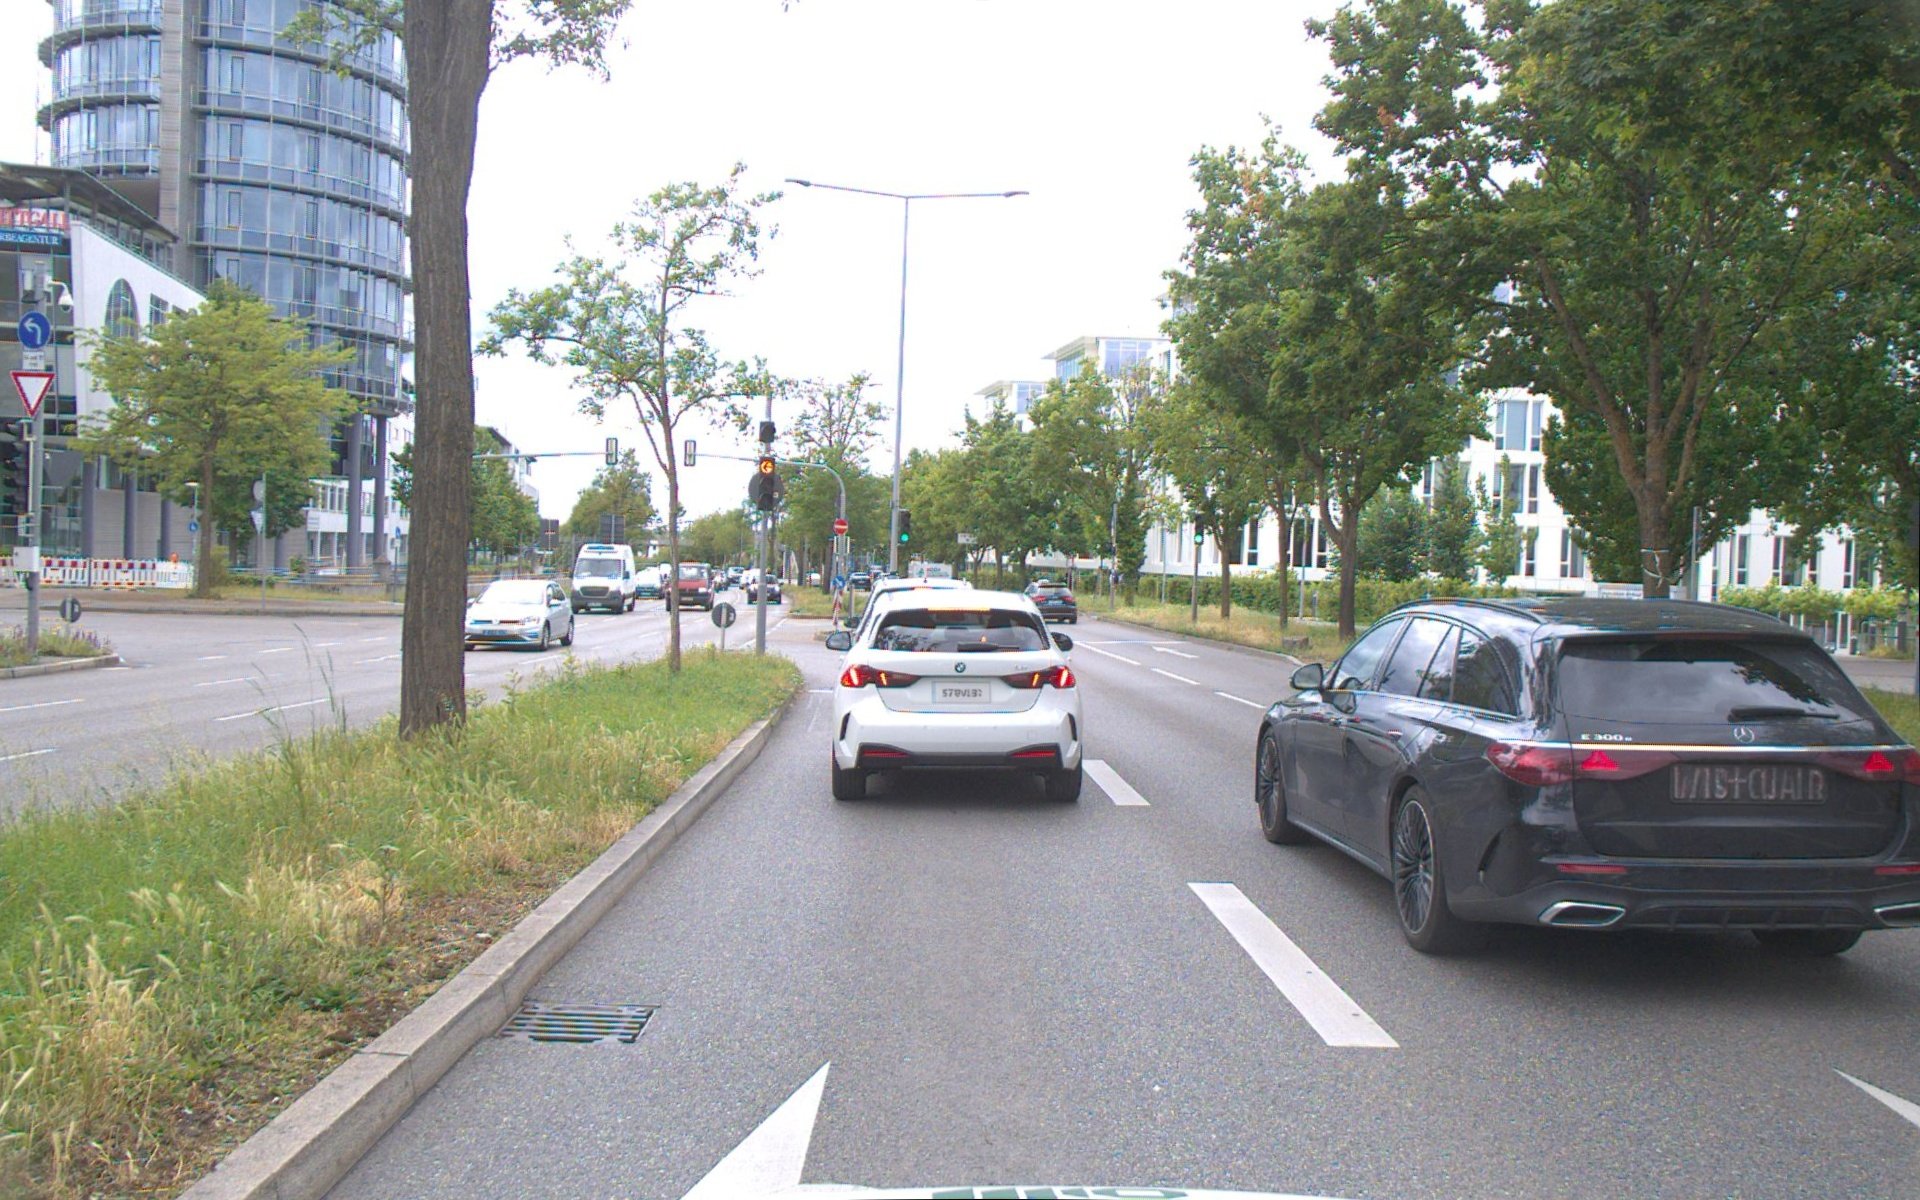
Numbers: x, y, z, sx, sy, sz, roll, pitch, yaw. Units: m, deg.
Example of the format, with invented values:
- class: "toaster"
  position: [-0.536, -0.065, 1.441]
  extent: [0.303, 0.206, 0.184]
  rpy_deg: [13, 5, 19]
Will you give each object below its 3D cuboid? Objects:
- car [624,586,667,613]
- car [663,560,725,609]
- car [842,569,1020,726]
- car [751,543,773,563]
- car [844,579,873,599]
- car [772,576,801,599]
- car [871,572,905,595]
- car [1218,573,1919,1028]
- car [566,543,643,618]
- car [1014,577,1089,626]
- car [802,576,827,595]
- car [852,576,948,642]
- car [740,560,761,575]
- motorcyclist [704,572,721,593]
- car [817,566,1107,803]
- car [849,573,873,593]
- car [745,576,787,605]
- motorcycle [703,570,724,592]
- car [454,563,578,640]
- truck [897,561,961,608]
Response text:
- class: "car"
  position: [-16.998, -0.033, 89.497]
  extent: [1.673, 1.443, 3.802]
  rpy_deg: [0, 1, -1]
- class: "car"
  position: [-11.145, -0.643, 69.556]
  extent: [1.896, 1.951, 4.972]
  rpy_deg: [1, 0, -1]
- class: "car"
  position: [-0.330, 0.532, 20.432]
  extent: [1.953, 1.701, 4.000]
  rpy_deg: [1, 0, 0]
- class: "car"
  position: [-21.358, -5.045, 178.369]
  extent: [1.954, 2.045, 4.321]
  rpy_deg: [3, 1, -4]
- class: "car"
  position: [-8.189, -0.911, 133.276]
  extent: [1.957, 1.534, 3.991]
  rpy_deg: [1, 0, -10]
- class: "car"
  position: [-11.861, -0.834, 113.313]
  extent: [1.673, 1.523, 3.802]
  rpy_deg: [0, 1, -1]
- class: "car"
  position: [-4.966, -1.166, 113.749]
  extent: [1.956, 1.534, 3.993]
  rpy_deg: [1, 1, -8]
- class: "car"
  position: [2.773, 0.667, 8.087]
  extent: [2.012, 1.512, 4.971]
  rpy_deg: [1, 0, -3]
- class: "car"
  position: [-13.780, -0.774, 64.497]
  extent: [1.954, 2.679, 5.871]
  rpy_deg: [3, 1, -4]
- class: "car"
  position: [3.173, 0.028, 58.406]
  extent: [1.955, 1.624, 3.994]
  rpy_deg: [1, 1, -7]
- class: "car"
  position: [-12.373, -1.247, 141.009]
  extent: [1.954, 1.516, 3.997]
  rpy_deg: [2, 1, -4]
- class: "car"
  position: [-1.459, 0.225, 41.931]
  extent: [1.951, 1.534, 4.002]
  rpy_deg: [1, 0, 4]
- class: "car"
  position: [-24.769, -3.866, 195.462]
  extent: [1.953, 1.646, 3.999]
  rpy_deg: [3, 1, -1]
- class: "motorcyclist"
  position: [-16.727, -1.189, 111.982]
  extent: [0.891, 1.416, 1.673]
  rpy_deg: [1, 0, -1]
- class: "car"
  position: [0.059, 0.540, 12.623]
  extent: [1.824, 1.474, 4.001]
  rpy_deg: [1, 0, 1]
- class: "car"
  position: [-8.173, -1.406, 136.404]
  extent: [1.954, 1.516, 3.997]
  rpy_deg: [2, 1, -4]
- class: "car"
  position: [-9.694, -0.501, 82.875]
  extent: [1.718, 1.395, 3.779]
  rpy_deg: [0, 1, -1]
- class: "motorcycle"
  position: [-16.720, -1.273, 112.239]
  extent: [0.871, 1.422, 3.999]
  rpy_deg: [1, 1, -1]
- class: "car"
  position: [-9.449, 0.006, 35.481]
  extent: [1.718, 1.469, 4.132]
  rpy_deg: [3, 1, -4]
- class: "truck"
  position: [-1.848, -0.905, 95.987]
  extent: [2.806, 2.563, 6.274]
  rpy_deg: [1, 0, -9]
